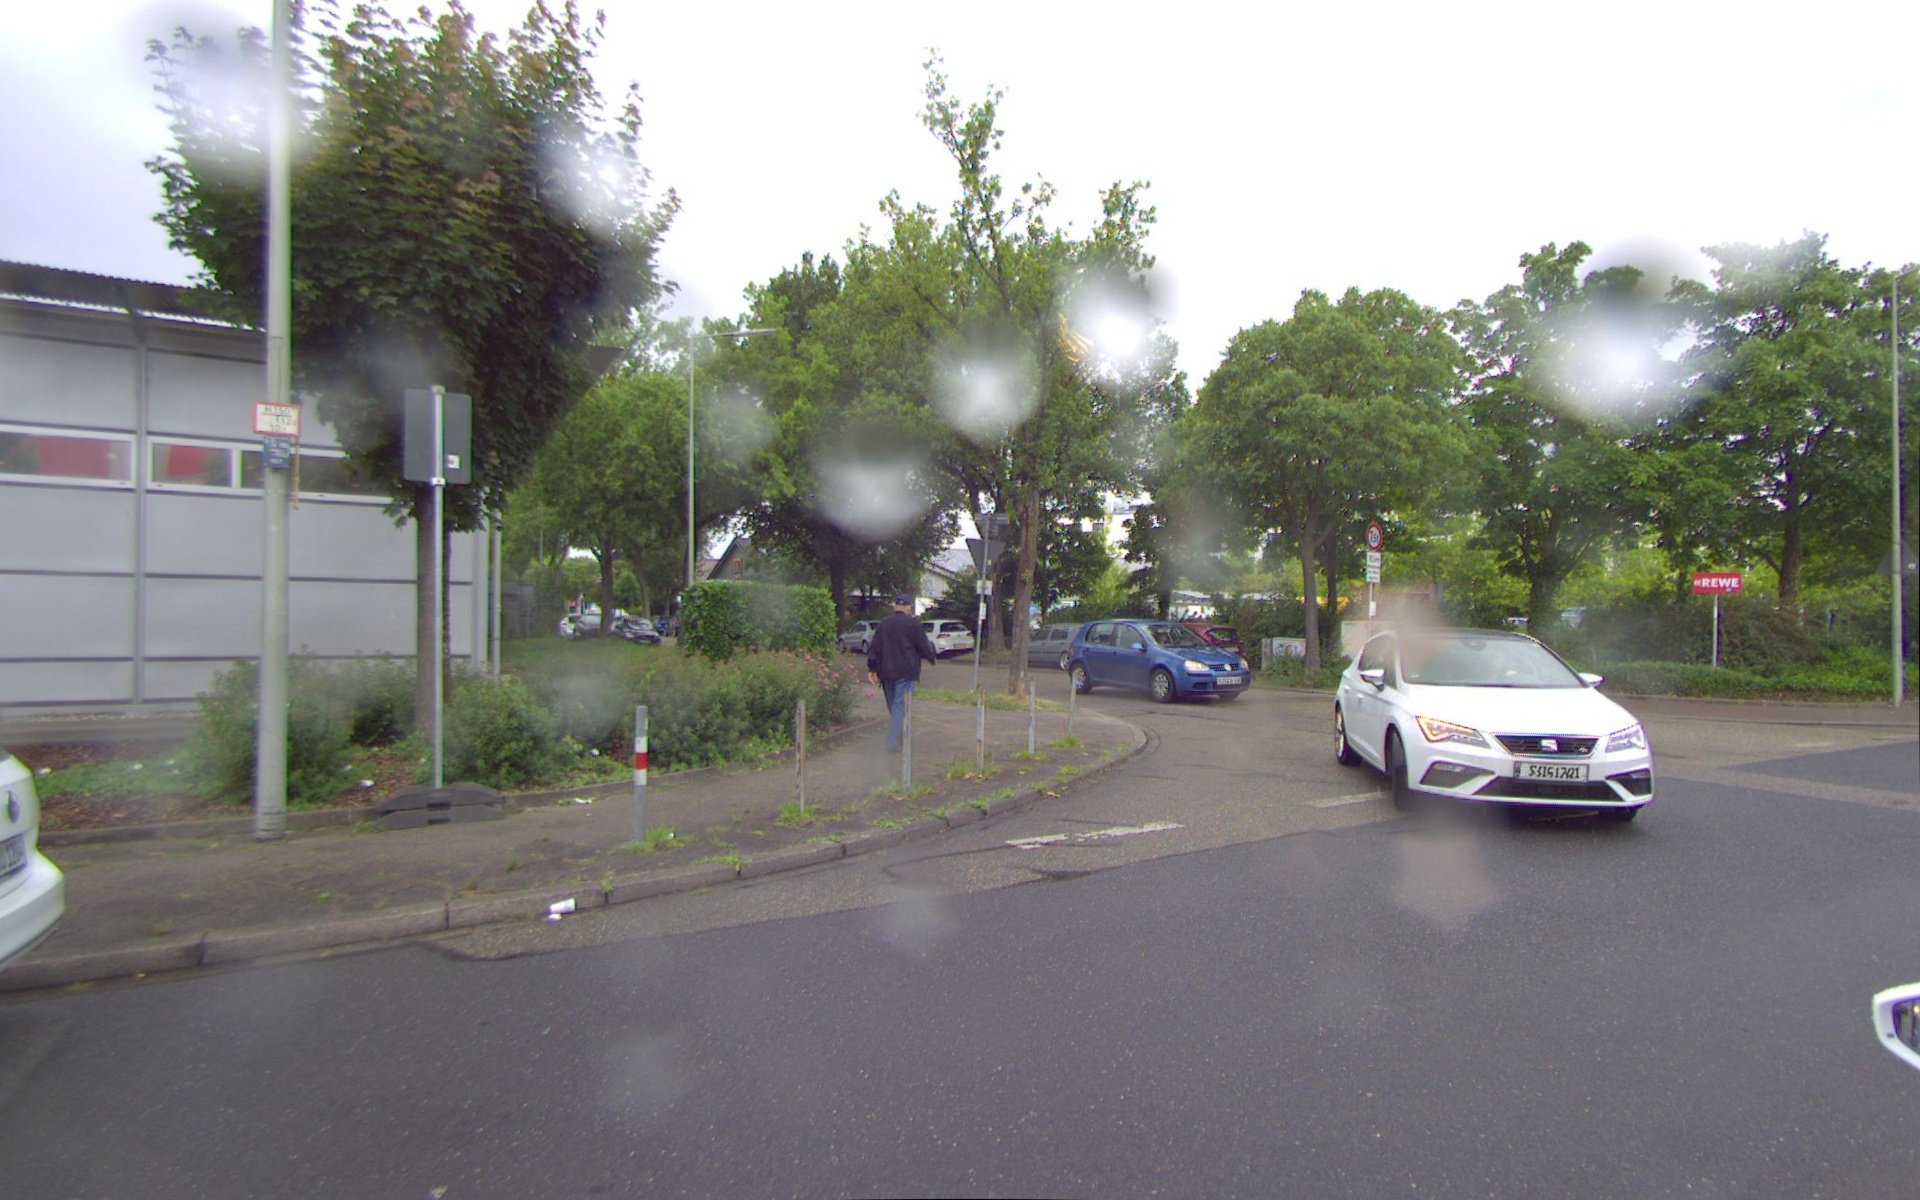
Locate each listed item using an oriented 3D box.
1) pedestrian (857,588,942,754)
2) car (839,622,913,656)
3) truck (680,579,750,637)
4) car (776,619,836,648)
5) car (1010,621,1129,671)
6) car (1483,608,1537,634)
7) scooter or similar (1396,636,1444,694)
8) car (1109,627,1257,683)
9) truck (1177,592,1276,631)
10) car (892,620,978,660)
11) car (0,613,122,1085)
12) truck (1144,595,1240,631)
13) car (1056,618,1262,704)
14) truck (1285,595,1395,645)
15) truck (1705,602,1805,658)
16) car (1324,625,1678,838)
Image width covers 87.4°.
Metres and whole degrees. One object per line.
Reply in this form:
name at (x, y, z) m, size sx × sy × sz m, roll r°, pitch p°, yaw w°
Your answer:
pedestrian at (-0.627, 0.733, 10.735) m, size 0.743 × 1.696 × 0.783 m, roll 0°, pitch -1°, yaw 8°
car at (-3.724, 1.678, 43.862) m, size 1.715 × 1.401 × 4.065 m, roll 1°, pitch -2°, yaw -29°
truck at (-15.769, 0.567, 64.412) m, size 2.572 × 3.515 × 6.761 m, roll 1°, pitch -1°, yaw -30°
car at (-7.876, 1.693, 51.102) m, size 1.715 × 1.401 × 4.065 m, roll 1°, pitch -2°, yaw -29°
car at (3.323, 1.400, 31.300) m, size 1.715 × 1.460 × 3.969 m, roll 1°, pitch -2°, yaw -29°
car at (44.864, 1.722, 81.914) m, size 3.951 × 2.040 × 1.985 m, roll 2°, pitch -1°, yaw -29°
scooter or similar at (9.624, 1.353, 21.022) m, size 1.045 × 1.191 × 0.283 m, roll 1°, pitch -1°, yaw -23°
car at (5.904, 1.420, 27.056) m, size 1.715 × 1.381 × 3.969 m, roll 1°, pitch -2°, yaw -29°
truck at (15.569, 0.695, 58.497) m, size 6.066 × 2.122 × 1.983 m, roll 1°, pitch -1°, yaw -32°
car at (-1.015, 1.535, 39.058) m, size 1.715 × 1.460 × 3.969 m, roll 1°, pitch -2°, yaw -29°
car at (-5.089, 0.742, 2.389) m, size 4.437 × 1.453 × 1.828 m, roll 1°, pitch -3°, yaw -30°
truck at (14.186, 0.828, 61.256) m, size 6.066 × 2.087 × 1.983 m, roll 2°, pitch -1°, yaw -32°
car at (3.676, 1.094, 19.198) m, size 1.715 × 1.460 × 3.969 m, roll 1°, pitch -2°, yaw -29°
truck at (20.916, 1.140, 55.163) m, size 6.316 × 2.636 × 1.986 m, roll 1°, pitch -1°, yaw -28°
truck at (41.463, 1.573, 52.338) m, size 6.392 × 2.789 × 1.984 m, roll 1°, pitch -1°, yaw -31°
car at (4.483, 0.961, 9.025) m, size 1.701 × 1.460 × 4.003 m, roll 0°, pitch -2°, yaw 12°
